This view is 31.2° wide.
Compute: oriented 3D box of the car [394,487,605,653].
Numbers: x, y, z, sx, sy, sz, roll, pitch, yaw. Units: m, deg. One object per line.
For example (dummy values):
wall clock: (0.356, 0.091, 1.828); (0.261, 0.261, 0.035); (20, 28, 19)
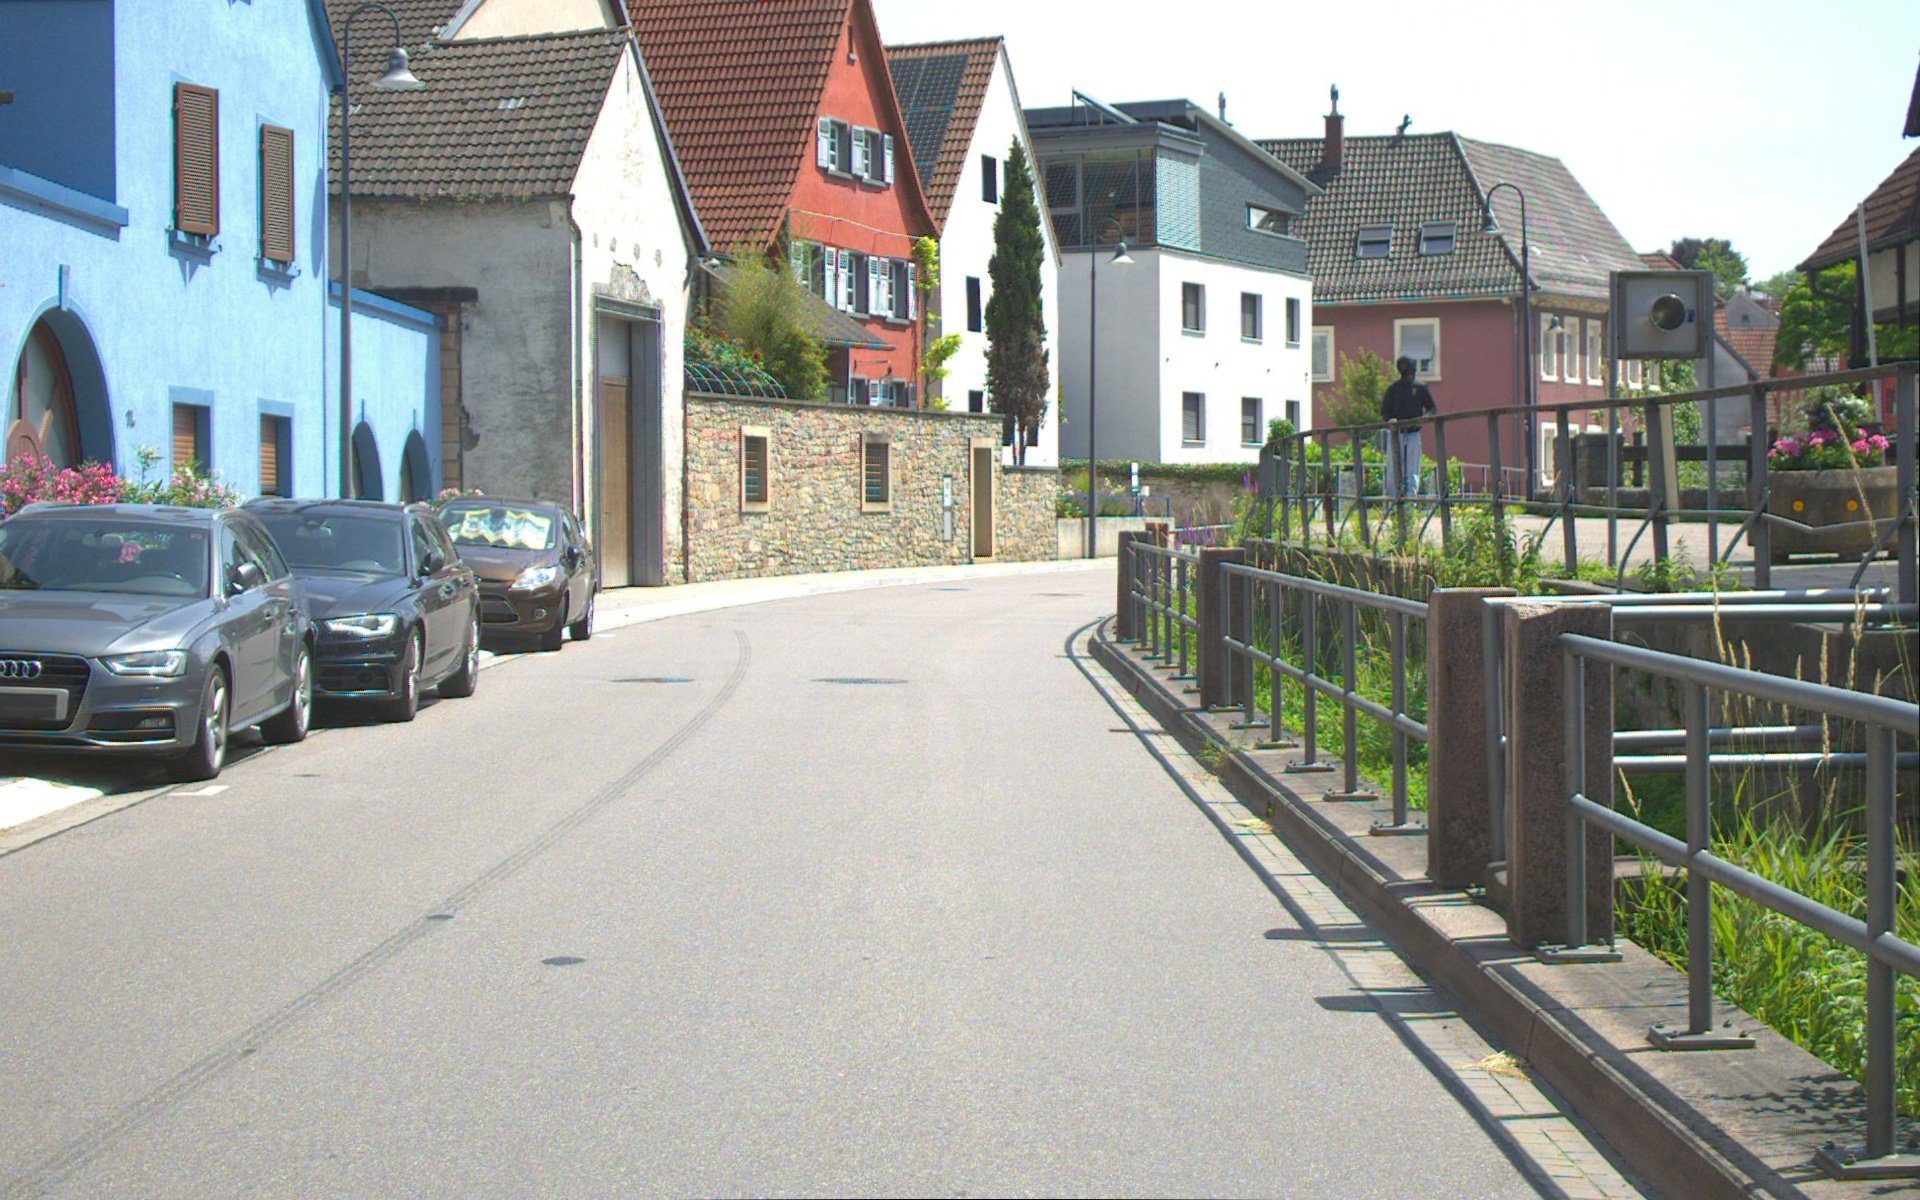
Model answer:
car: (-4.604, -0.350, 34.822); (1.717, 1.524, 3.857); (-1, 2, -2)

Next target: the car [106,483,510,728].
car: (-4.533, -0.045, 24.622); (1.885, 1.459, 4.669); (3, 2, 1)

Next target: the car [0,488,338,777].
car: (-4.897, 0.122, 19.664); (1.956, 1.460, 4.546); (0, 1, -1)

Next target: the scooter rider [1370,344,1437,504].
scooter rider: (4.836, -1.913, 37.543); (0.641, 1.726, 0.554); (0, 1, 0)

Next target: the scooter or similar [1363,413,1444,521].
scooter or similar: (4.843, -1.442, 37.626); (0.641, 1.138, 1.811); (-1, 1, 0)
